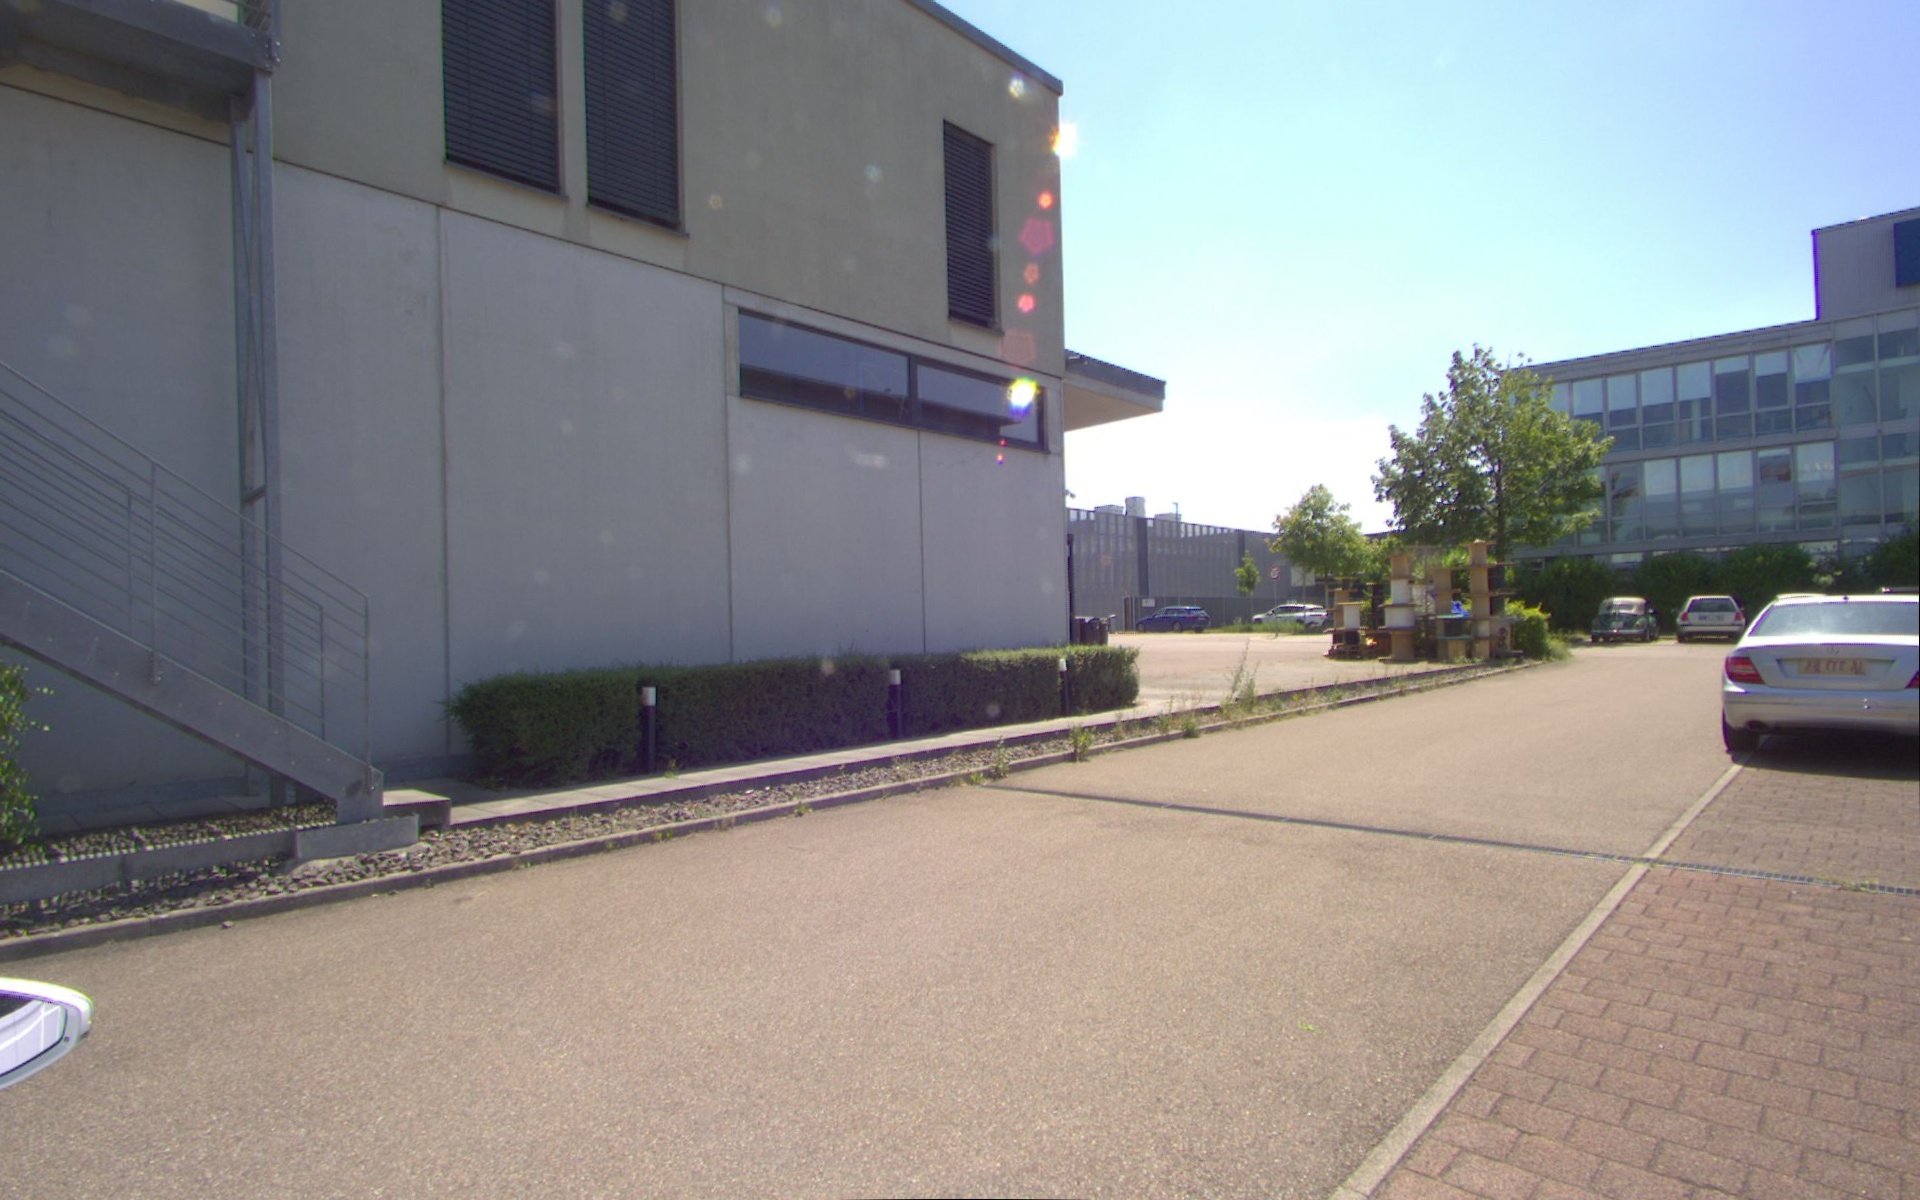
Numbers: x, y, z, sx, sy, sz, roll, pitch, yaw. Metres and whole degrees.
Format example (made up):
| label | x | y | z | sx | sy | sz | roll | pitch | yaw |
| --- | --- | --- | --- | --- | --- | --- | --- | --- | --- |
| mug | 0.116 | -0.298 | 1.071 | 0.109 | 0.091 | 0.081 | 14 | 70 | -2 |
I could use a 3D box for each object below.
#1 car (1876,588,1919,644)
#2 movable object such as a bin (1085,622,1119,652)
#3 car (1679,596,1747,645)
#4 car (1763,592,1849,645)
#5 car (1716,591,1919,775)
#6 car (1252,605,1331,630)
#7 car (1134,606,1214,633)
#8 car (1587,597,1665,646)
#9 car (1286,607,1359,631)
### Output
| label | x | y | z | sx | sy | sz | roll | pitch | yaw |
| --- | --- | --- | --- | --- | --- | --- | --- | --- | --- |
| car | 27.729 | 0.482 | 29.014 | 1.731 | 1.538 | 3.965 | -1 | -2 | 43 |
| movable object such as a bin | 4.752 | 1.230 | 33.575 | 0.809 | 0.993 | 0.803 | -1 | -1 | 43 |
| car | 24.141 | 0.668 | 32.192 | 1.653 | 1.459 | 3.975 | -1 | -2 | 36 |
| car | 26.168 | 0.601 | 31.081 | 1.727 | 1.538 | 3.975 | -1 | -2 | 36 |
| car | 8.565 | 0.697 | 9.559 | 1.712 | 1.455 | 3.683 | -2 | -2 | 44 |
| car | 19.924 | 1.106 | 60.315 | 1.727 | 1.433 | 4.421 | 1 | -2 | -33 |
| car | 11.733 | 1.108 | 55.103 | 1.726 | 1.433 | 4.423 | 1 | -2 | -32 |
| car | 22.384 | 0.739 | 33.606 | 1.729 | 1.538 | 3.969 | -1 | -2 | 40 |
| car | 22.405 | 1.208 | 61.991 | 1.727 | 1.433 | 4.042 | 1 | -2 | -33 |
